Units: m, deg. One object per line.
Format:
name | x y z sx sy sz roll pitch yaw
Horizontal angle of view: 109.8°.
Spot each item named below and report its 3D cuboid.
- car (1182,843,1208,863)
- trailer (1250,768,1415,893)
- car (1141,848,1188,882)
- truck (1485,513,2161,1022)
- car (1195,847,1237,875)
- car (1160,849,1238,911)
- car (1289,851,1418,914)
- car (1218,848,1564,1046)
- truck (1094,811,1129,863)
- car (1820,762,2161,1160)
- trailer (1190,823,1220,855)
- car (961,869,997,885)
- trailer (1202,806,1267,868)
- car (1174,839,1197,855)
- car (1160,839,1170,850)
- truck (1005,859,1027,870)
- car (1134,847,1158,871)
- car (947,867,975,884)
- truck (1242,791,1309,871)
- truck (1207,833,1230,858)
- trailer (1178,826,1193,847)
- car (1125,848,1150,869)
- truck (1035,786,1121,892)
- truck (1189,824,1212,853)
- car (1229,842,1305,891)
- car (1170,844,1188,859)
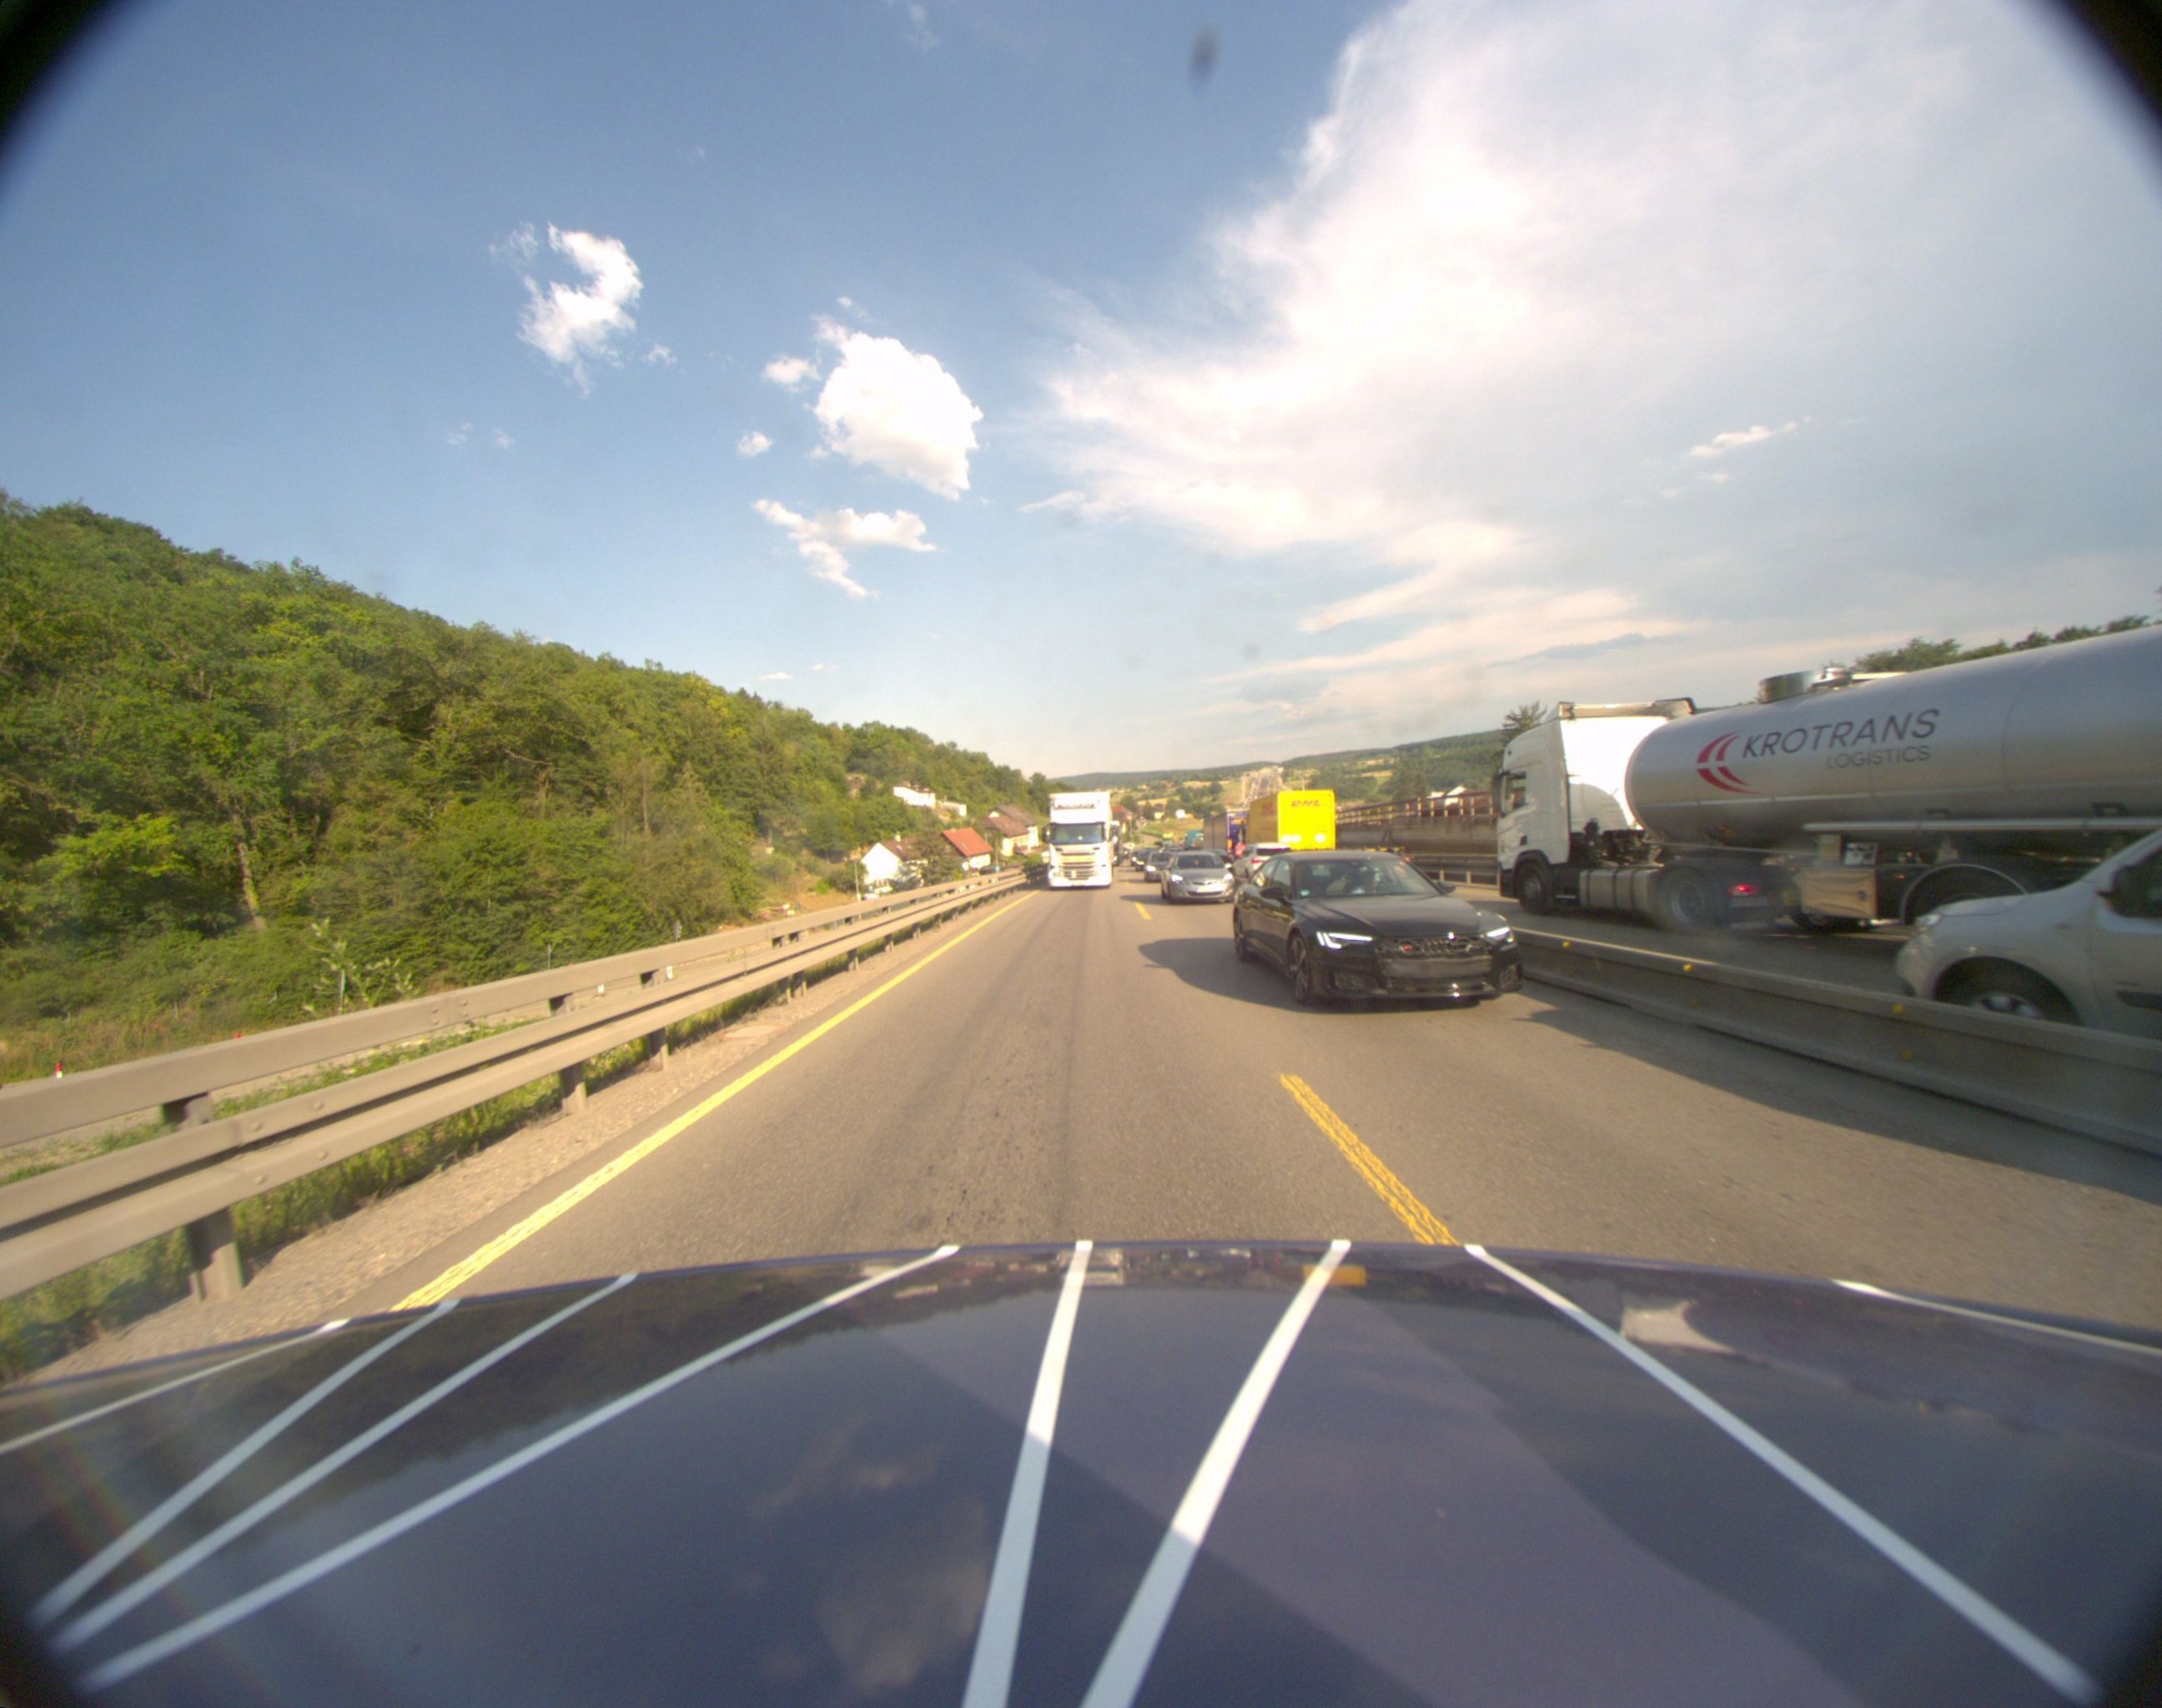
car | 9.288 -0.134 62.060 1.720 1.499 4.291 -1 2 3
trailer | 10.337 -1.037 33.828 2.707 4.180 15.995 -1 2 3
car | 3.893 0.481 35.989 1.823 1.433 4.000 -3 1 1
truck | 9.835 -0.757 8.945 2.816 3.947 13.891 -2 1 1
car | 7.725 0.346 43.955 1.743 1.394 4.902 -1 2 2
car | 3.260 0.662 21.641 1.809 1.478 4.118 -1 1 4
car | 6.435 0.605 18.448 1.715 1.245 4.050 -1 2 1
car | 2.926 0.723 8.645 1.945 1.472 5.221 -1 1 2
truck | 2.916 -1.498 71.089 2.787 4.505 7.191 -3 0 5
car | 6.085 0.492 2.839 1.838 1.906 4.864 -2 0 -1
trailer | 15.751 -1.950 97.489 2.754 3.794 16.049 0 1 5
car | -16.748 3.719 124.670 5.474 2.252 2.001 -2 3 14
trailer | 11.642 -1.407 59.408 2.720 4.111 16.751 -1 2 4
car | 10.092 -0.716 73.835 1.801 1.445 4.615 -1 2 3
car | 15.801 -1.755 143.476 1.827 1.923 5.131 1 2 6
truck | -11.628 1.880 136.000 2.002 1.729 3.990 -11 5 -35
car | 5.685 0.411 66.910 1.998 2.002 4.000 -1 2 3
car | -16.428 2.934 104.355 1.865 1.975 5.054 -1 4 15
truck | 10.737 -1.300 42.349 2.700 4.173 4.397 -1 2 2
truck | 24.352 -1.582 135.251 3.165 4.099 12.495 0 1 6
trailer | 23.296 -3.996 169.405 2.917 4.440 7.154 -2 2 8
car | 4.634 0.315 63.027 1.998 1.565 4.000 -1 2 3
truck | 0.248 -0.792 36.551 2.891 4.060 13.893 -1 2 4
truck | 16.531 -2.149 105.744 2.754 3.784 7.113 0 1 5
car | 6.814 0.400 28.302 1.850 1.638 4.559 -1 2 2
car | 11.286 -0.288 87.562 1.792 1.489 4.724 -1 2 4
